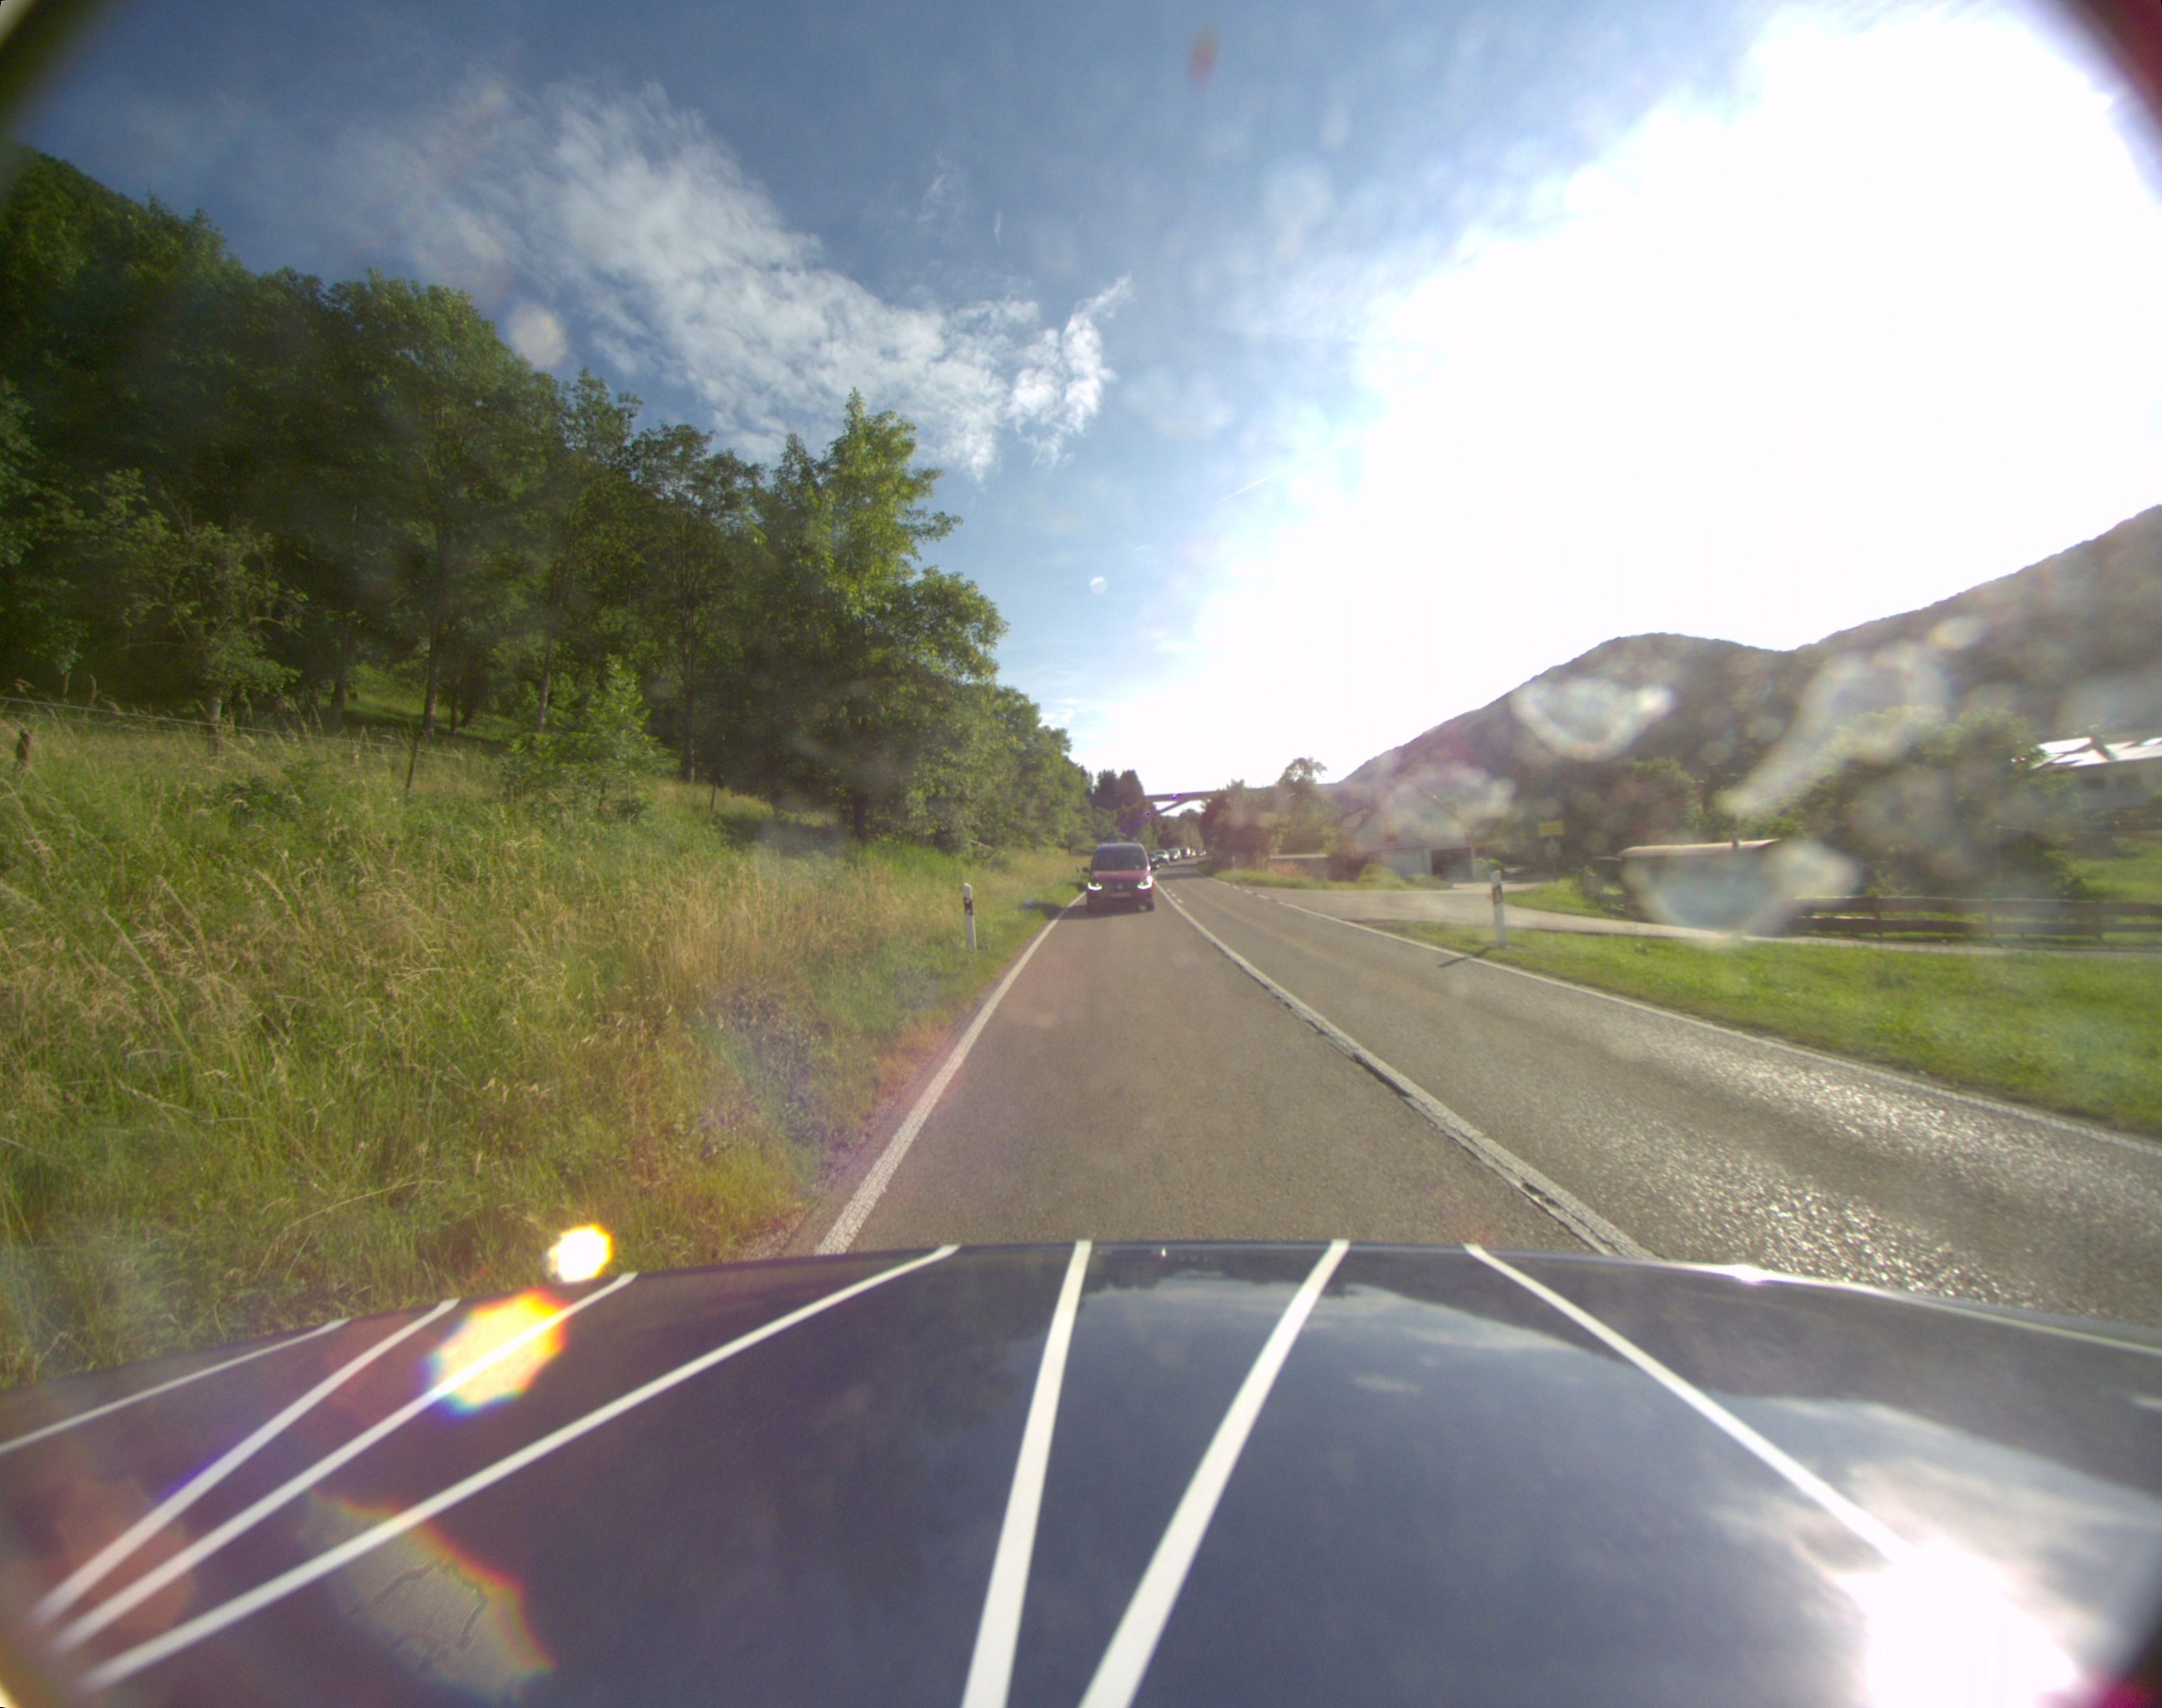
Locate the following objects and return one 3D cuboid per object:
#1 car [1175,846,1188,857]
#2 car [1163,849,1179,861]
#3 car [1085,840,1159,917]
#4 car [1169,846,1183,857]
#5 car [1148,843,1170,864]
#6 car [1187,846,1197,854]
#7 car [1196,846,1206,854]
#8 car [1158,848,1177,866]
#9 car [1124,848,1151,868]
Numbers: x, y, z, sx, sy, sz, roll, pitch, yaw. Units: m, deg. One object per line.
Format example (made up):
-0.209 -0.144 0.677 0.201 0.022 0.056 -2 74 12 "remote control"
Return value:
16.688 -0.422 125.861 1.817 1.608 4.003 -1 1 12 "car"
12.230 0.154 102.963 1.840 1.543 4.180 -1 1 10 "car"
1.084 0.588 20.842 1.772 1.855 3.875 -2 1 2 "car"
14.148 -0.439 112.875 1.817 1.608 4.003 -1 1 11 "car"
7.720 -0.042 74.781 1.913 2.002 4.002 -1 1 9 "car"
22.238 -0.825 152.100 1.840 1.543 4.181 -1 1 12 "car"
26.655 -0.926 168.993 1.840 1.543 4.181 -1 1 12 "car"
9.747 0.304 85.403 1.913 2.002 4.002 -1 1 10 "car"
4.781 0.324 63.662 1.840 1.543 4.180 -1 1 10 "car"
